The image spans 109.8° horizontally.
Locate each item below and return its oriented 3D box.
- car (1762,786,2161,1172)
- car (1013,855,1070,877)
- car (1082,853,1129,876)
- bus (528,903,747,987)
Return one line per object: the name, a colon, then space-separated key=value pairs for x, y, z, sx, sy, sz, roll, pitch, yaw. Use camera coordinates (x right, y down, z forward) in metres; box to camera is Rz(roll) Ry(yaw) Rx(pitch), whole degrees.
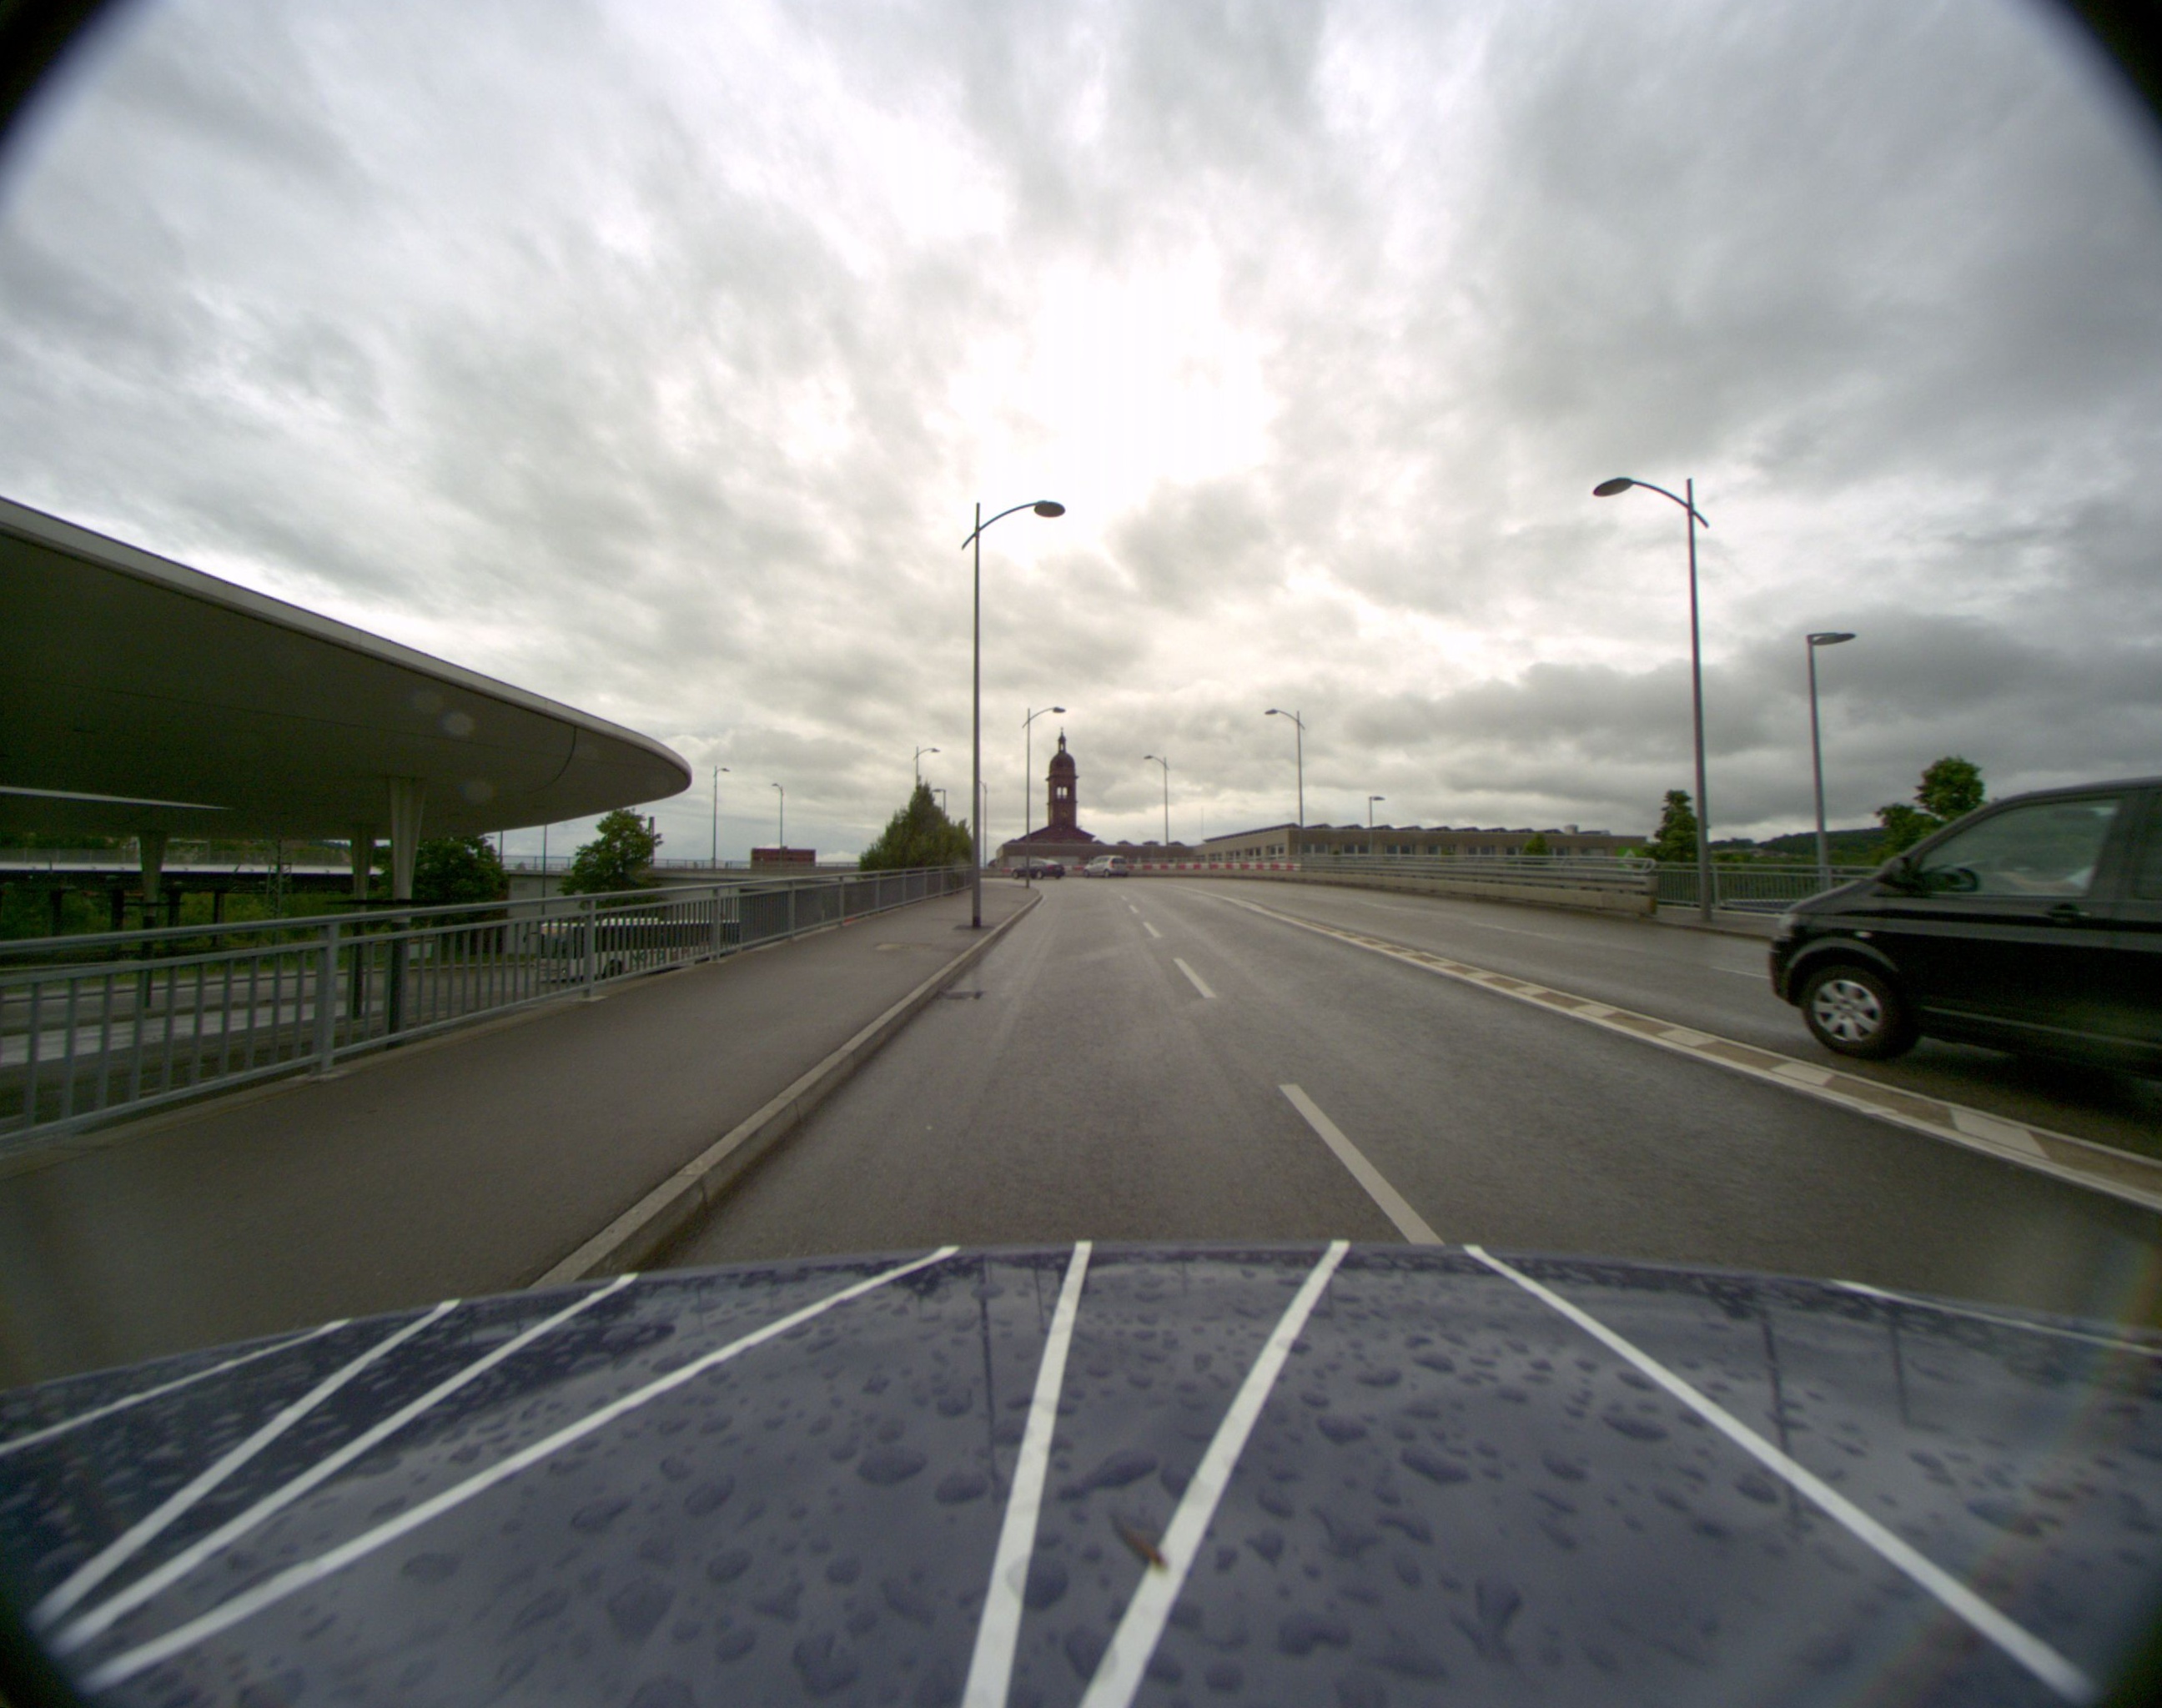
car: x=6.422 y=0.642 z=3.676 sx=1.850 sy=1.956 sz=4.683 roll=0 pitch=1 yaw=-3
car: x=-2.923 y=0.827 z=55.648 sx=1.676 sy=1.482 sz=4.444 roll=-1 pitch=1 yaw=-44
car: x=1.747 y=0.738 z=55.802 sx=1.653 sy=1.599 sz=3.700 roll=-1 pitch=1 yaw=-33
bus: x=-25.409 y=5.055 z=44.875 sx=2.792 sy=3.238 sz=12.155 roll=-2 pitch=1 yaw=19
